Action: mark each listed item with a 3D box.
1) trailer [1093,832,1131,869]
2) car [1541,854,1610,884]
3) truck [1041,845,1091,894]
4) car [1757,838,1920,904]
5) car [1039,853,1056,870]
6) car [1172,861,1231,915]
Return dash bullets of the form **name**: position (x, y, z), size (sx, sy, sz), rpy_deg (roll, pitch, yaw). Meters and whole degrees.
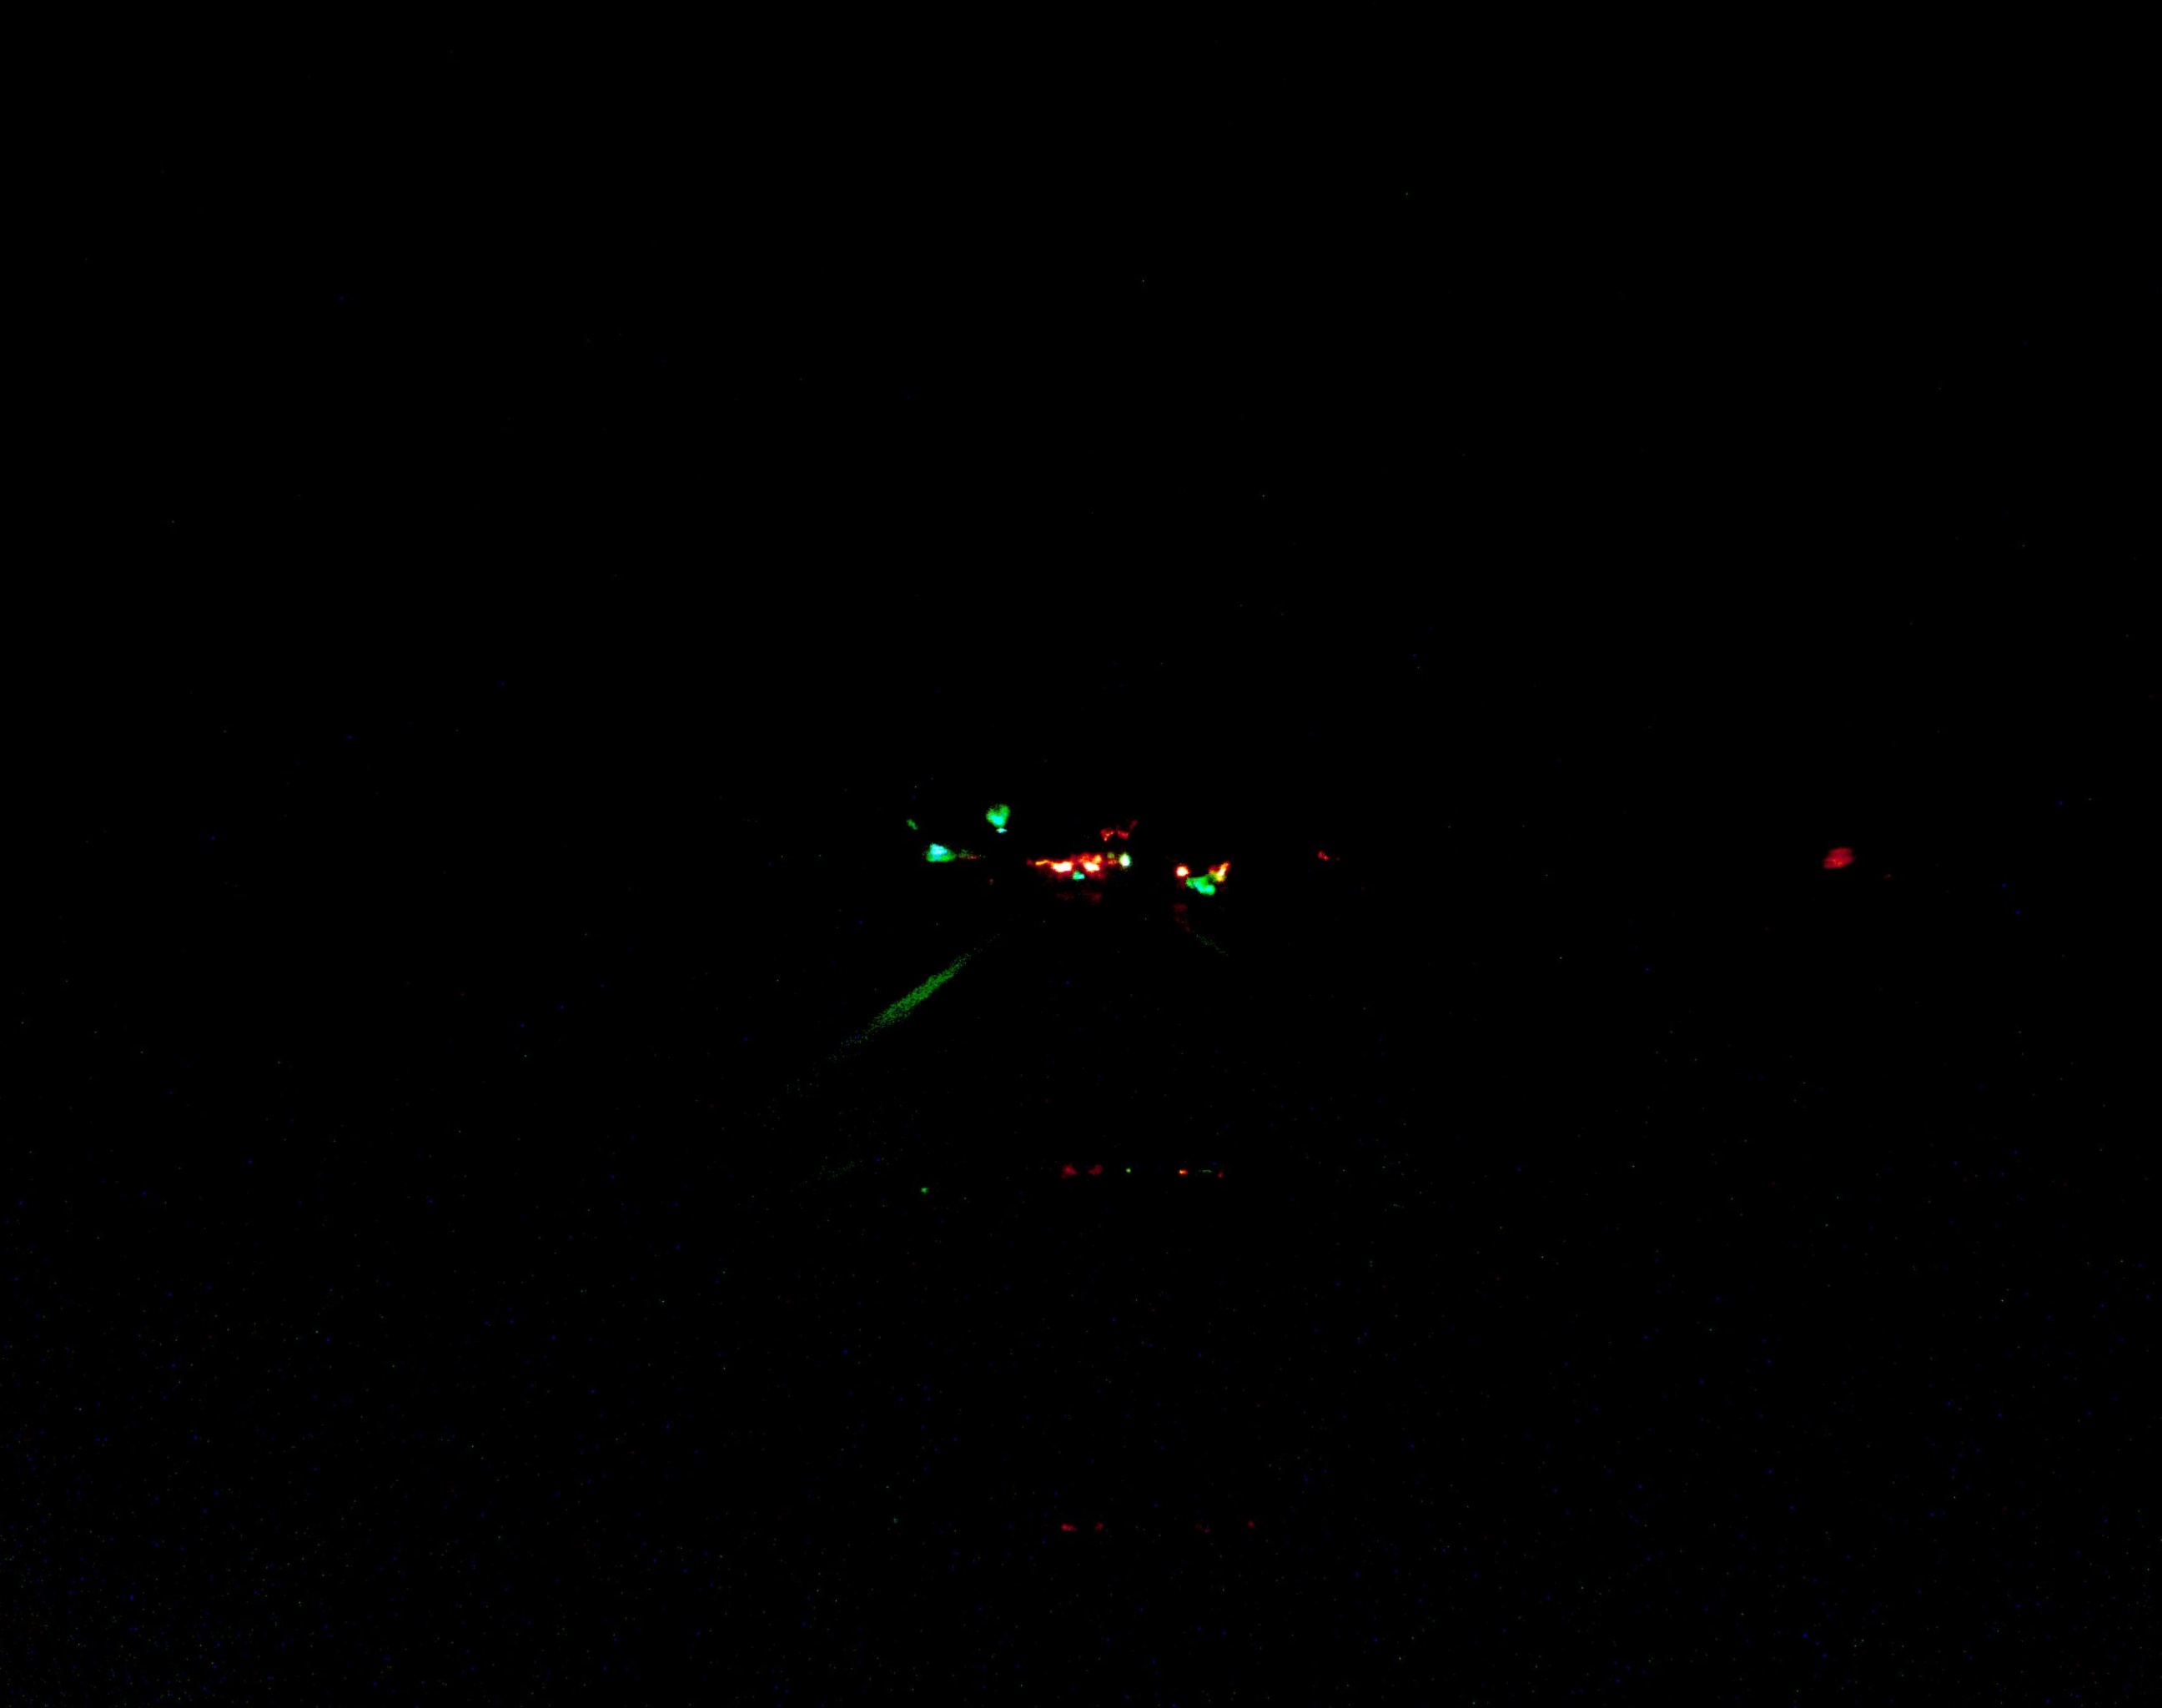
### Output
- **trailer**: position (3.846, -0.514, 104.385), size (2.736, 4.247, 13.343), rpy_deg (-4, 1, -6)
- **car**: position (29.166, 0.867, 48.175), size (1.983, 1.600, 4.008), rpy_deg (2, 1, 7)
- **truck**: position (-0.762, 0.628, 39.039), size (2.139, 2.077, 6.598), rpy_deg (2, 1, -2)
- **car**: position (24.891, 0.487, 26.998), size (2.217, 2.013, 4.014), rpy_deg (0, 1, 12)
- **car**: position (-4.450, 0.980, 107.965), size (1.989, 2.013, 3.996), rpy_deg (-4, 1, -3)
- **car**: position (4.079, 1.101, 28.114), size (1.791, 1.617, 4.264), rpy_deg (-2, 0, 6)
